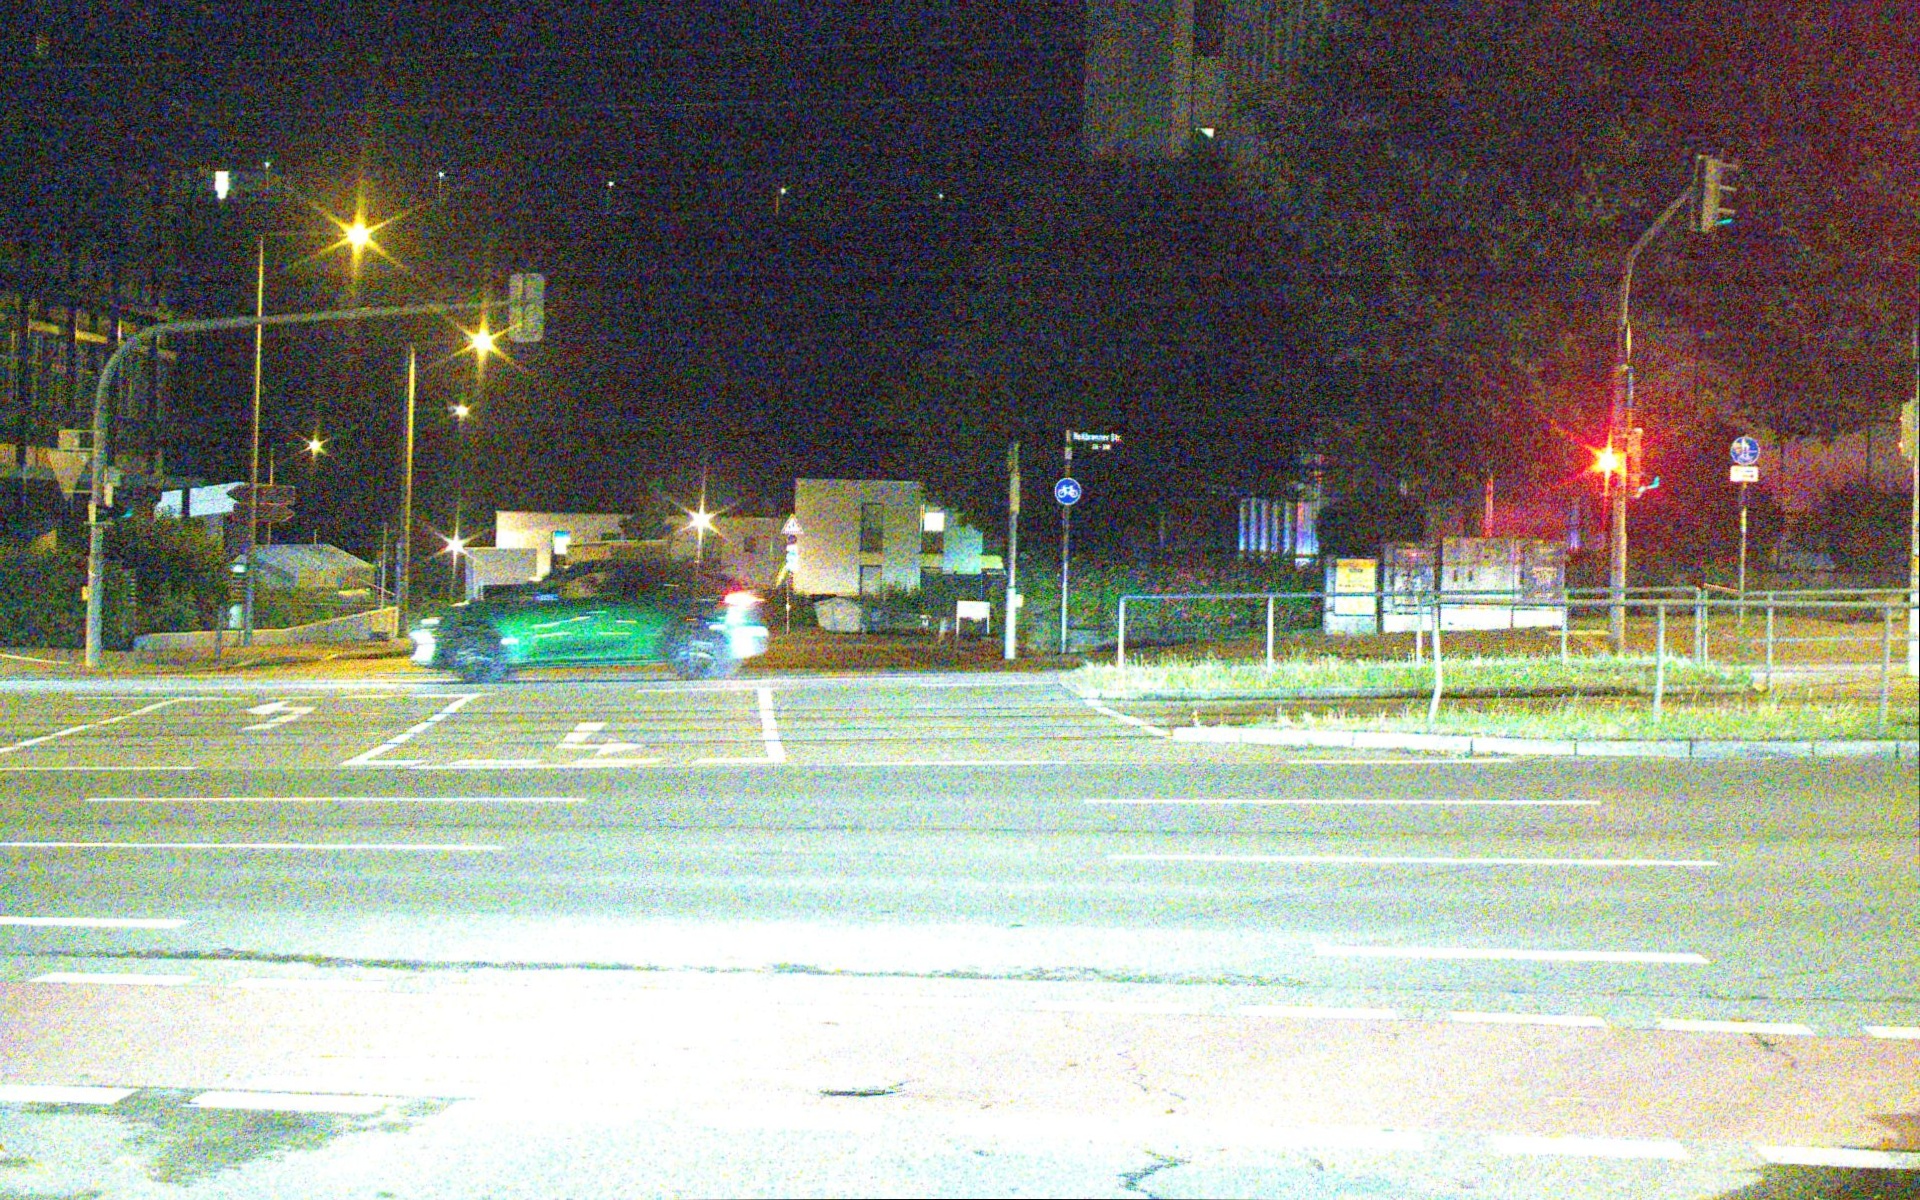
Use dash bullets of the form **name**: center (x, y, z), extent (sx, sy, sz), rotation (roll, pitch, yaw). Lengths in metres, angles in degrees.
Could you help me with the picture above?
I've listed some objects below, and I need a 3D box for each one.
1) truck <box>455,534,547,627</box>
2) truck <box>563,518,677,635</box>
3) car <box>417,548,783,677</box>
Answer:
- **truck**: center (-16.042, -0.665, 119.831), extent (2.417, 3.078, 6.439), rotation (1, 0, -14)
- **truck**: center (-14.779, -0.997, 148.850), extent (3.359, 4.826, 7.908), rotation (1, 0, -17)
- **car**: center (-4.219, 0.134, 40.730), extent (4.061, 1.419, 1.843), rotation (0, 3, 3)
